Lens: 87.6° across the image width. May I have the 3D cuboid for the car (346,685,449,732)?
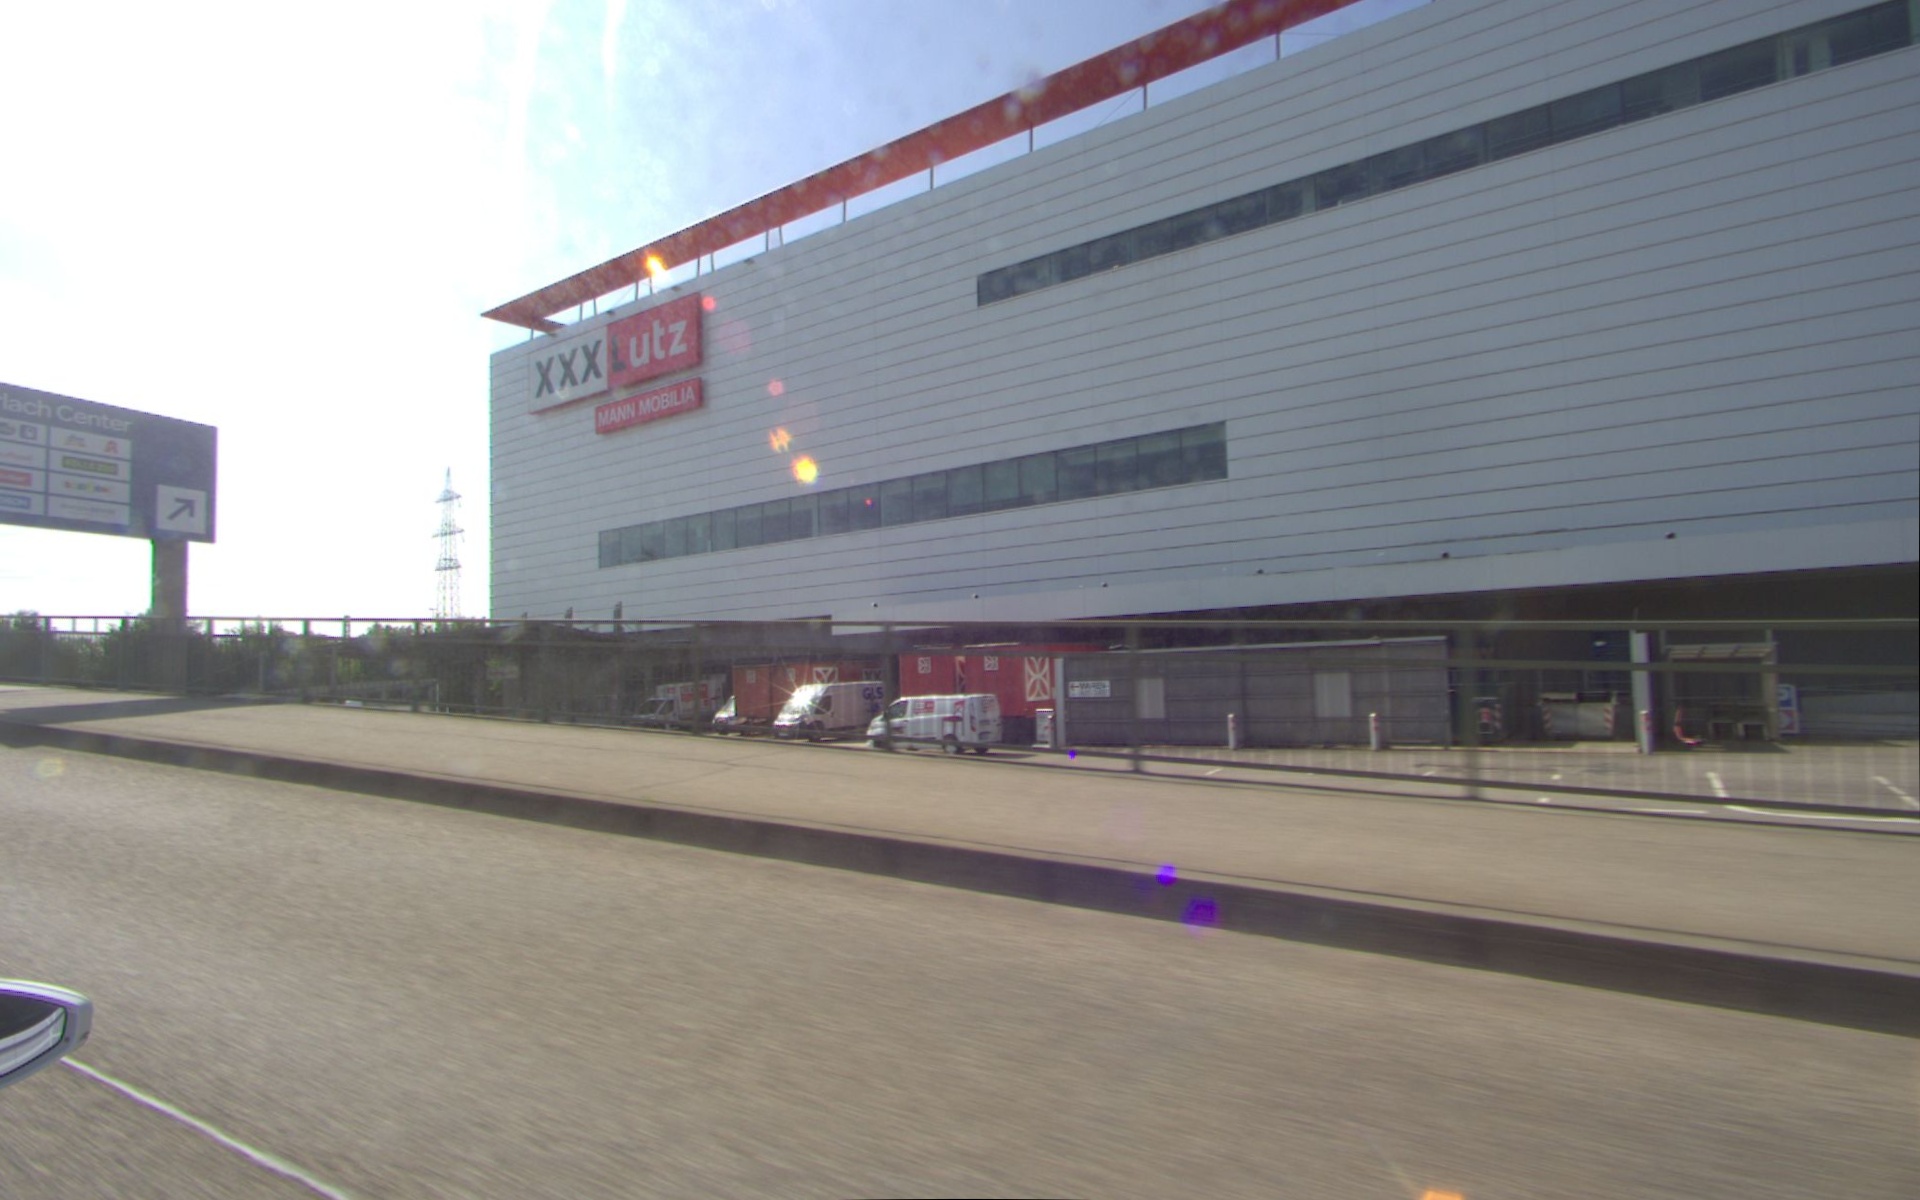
[{"bbox_3d":[-37.675,7.202,67.246,2.096,2.961,6.003,-3,-5,22],"label":"car"}]

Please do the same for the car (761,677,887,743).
[{"bbox_3d":[-5.885,4.752,44.150,2.104,2.651,5.982,-4,-5,34],"label":"car"}]

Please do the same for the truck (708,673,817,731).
[{"bbox_3d":[-10.753,5.536,54.946,2.106,2.962,5.975,-4,-5,37],"label":"truck"}]

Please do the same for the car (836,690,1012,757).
[{"bbox_3d":[-1.318,4.182,34.361,5.935,2.029,2.120,-4,-3,35],"label":"car"}]

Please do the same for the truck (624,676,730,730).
[{"bbox_3d":[-16.518,5.965,58.747,2.106,2.962,5.975,-4,-5,37],"label":"truck"}]
